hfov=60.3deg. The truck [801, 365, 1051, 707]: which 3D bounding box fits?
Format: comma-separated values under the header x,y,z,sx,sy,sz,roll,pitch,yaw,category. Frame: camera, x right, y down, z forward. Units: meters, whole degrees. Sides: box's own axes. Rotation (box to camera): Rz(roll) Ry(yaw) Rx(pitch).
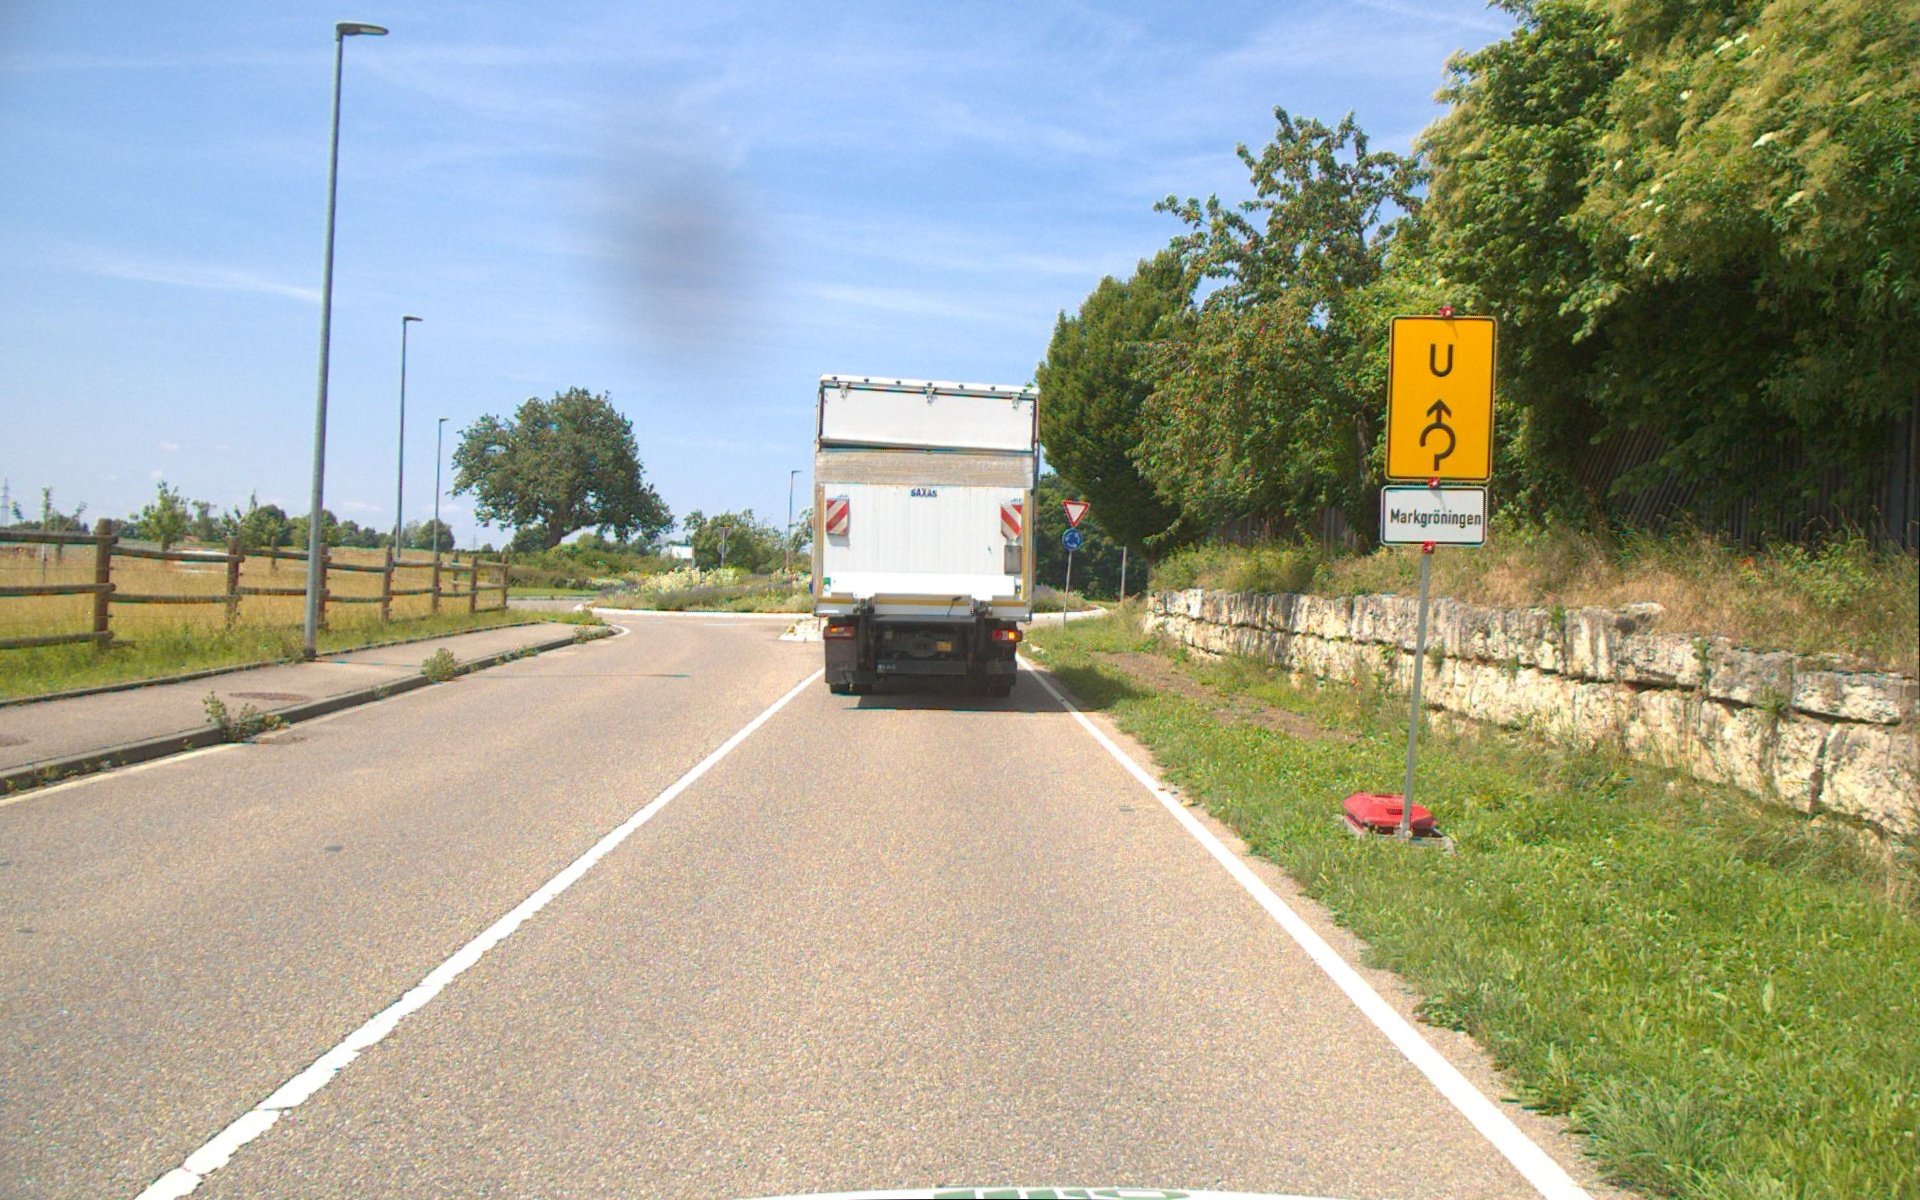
x,y,z,sx,sy,sz,roll,pitch,yaw,category
-0.550,-0.777,22.910,2.711,3.734,9.379,1,1,-2,truck
